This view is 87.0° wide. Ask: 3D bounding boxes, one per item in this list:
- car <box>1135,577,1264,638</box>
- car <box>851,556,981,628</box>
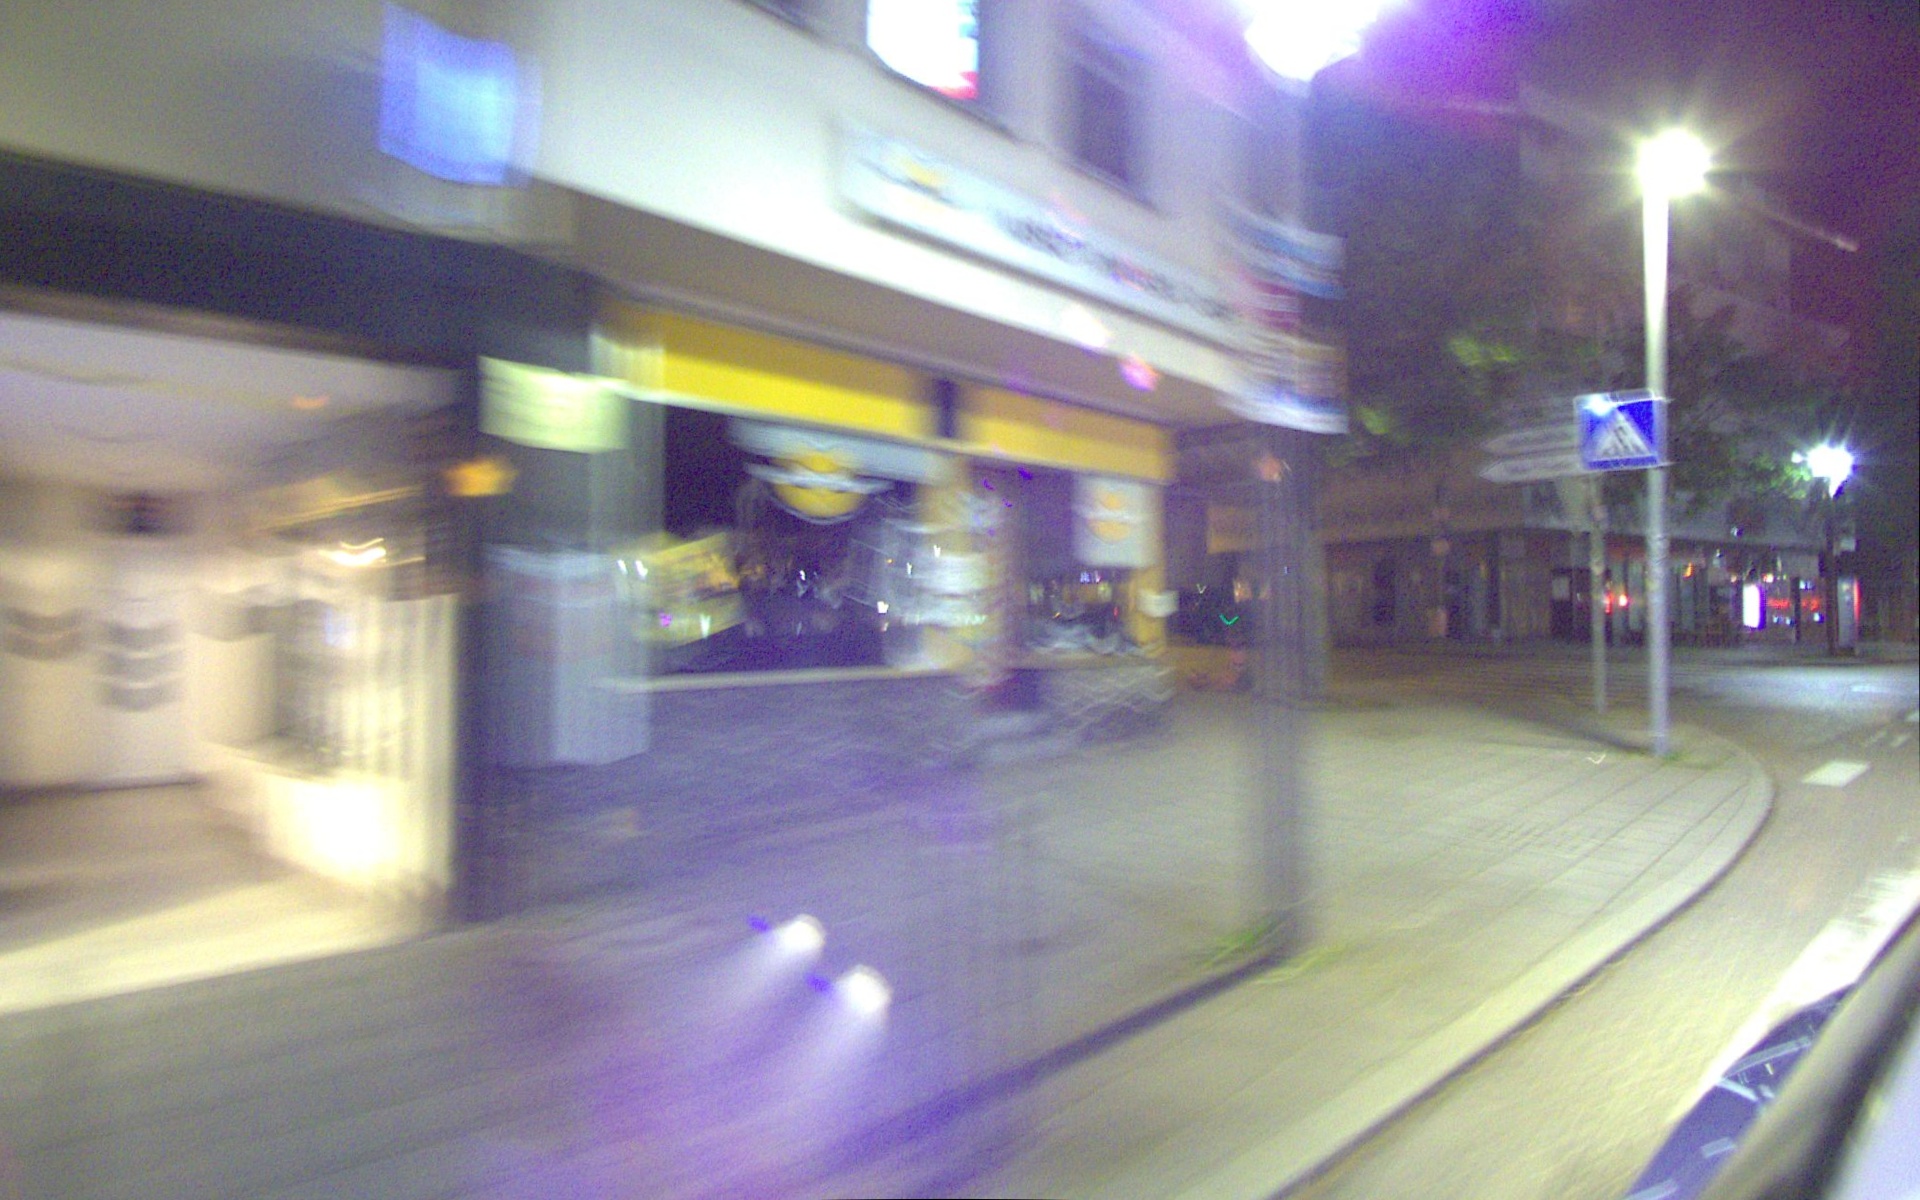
[{"bbox_3d":[7.393,0.267,31.049,4.144,1.716,1.994,2,-2,-45],"label":"car"},{"bbox_3d":[-1.630,-0.216,39.633,1.990,2.624,5.425,-1,-2,39],"label":"car"}]
